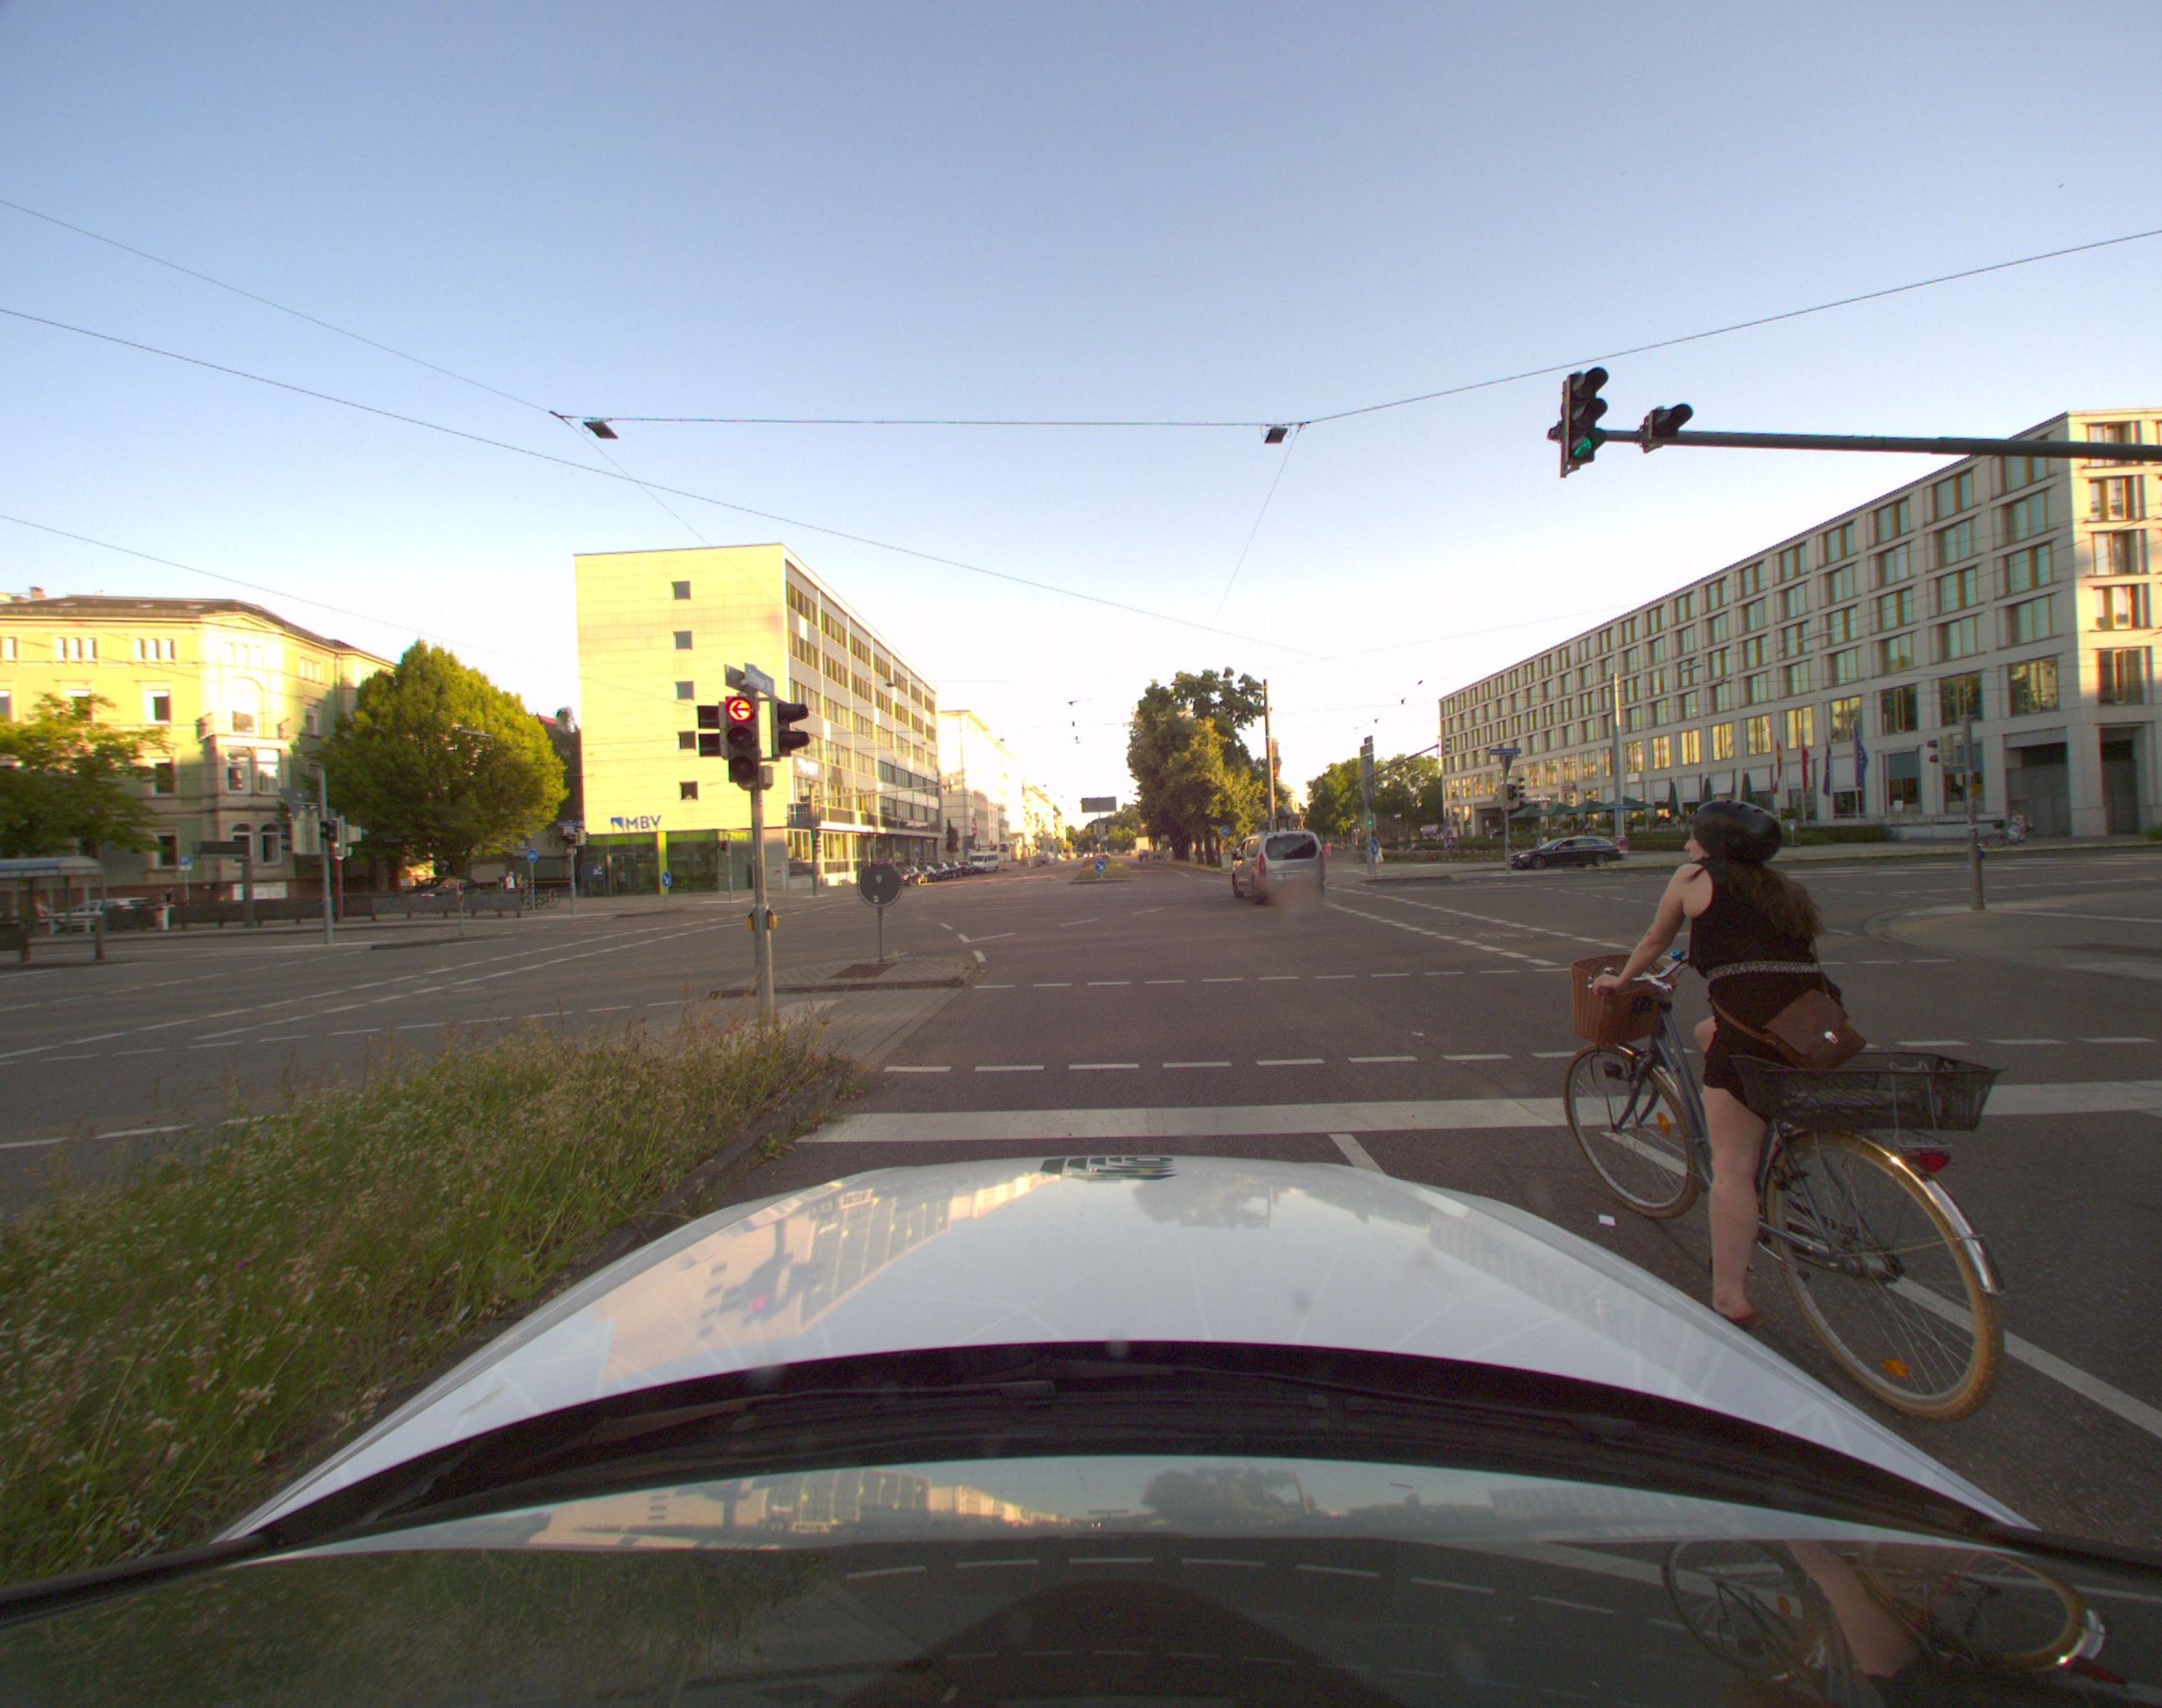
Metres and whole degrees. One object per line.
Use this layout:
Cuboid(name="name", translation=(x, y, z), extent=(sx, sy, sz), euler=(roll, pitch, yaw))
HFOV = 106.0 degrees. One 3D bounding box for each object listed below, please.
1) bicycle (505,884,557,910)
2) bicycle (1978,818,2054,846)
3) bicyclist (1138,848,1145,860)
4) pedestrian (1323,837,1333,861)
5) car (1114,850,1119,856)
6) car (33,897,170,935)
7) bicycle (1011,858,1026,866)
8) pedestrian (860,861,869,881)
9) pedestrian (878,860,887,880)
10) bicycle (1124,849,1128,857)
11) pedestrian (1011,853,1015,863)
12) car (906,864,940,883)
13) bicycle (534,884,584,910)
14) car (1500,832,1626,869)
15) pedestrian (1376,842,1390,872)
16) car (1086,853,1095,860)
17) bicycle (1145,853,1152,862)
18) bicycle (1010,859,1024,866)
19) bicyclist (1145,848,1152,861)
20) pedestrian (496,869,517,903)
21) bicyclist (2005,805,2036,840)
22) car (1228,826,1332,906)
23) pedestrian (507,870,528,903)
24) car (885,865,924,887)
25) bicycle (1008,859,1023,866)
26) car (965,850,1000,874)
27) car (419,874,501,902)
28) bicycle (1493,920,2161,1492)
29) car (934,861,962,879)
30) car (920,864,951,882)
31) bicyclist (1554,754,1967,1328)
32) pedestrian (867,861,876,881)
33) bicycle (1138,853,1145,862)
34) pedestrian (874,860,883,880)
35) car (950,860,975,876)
Cuboid(name="bicycle", translation=(-26.905, 2.092, 39.916), extent=(0.832, 1.112, 2.216), euler=(-3, 0, 6))
Cuboid(name="bicycle", translation=(42.419, -0.985, 36.943), extent=(2.762, 1.106, 0.602), euler=(-3, 0, -1))
Cuboid(name="bicyclist", translation=(8.153, 0.013, 109.814), extent=(0.744, 1.663, 0.873), euler=(-3, 0, 1))
Cuboid(name="pedestrian", translation=(17.414, -0.324, 57.454), extent=(0.458, 1.656, 0.567), euler=(-3, 0, 1))
Cuboid(name="car", translation=(11.520, -0.269, 261.434), extent=(1.403, 1.641, 4.000), euler=(-3, 0, 1))
Cuboid(name="car", translation=(-45.197, 2.838, 37.685), extent=(3.588, 1.372, 1.833), euler=(-3, 0, -15))
Cuboid(name="bicycle", translation=(-9.960, 1.262, 129.336), extent=(2.198, 1.236, 0.839), euler=(-3, 0, 0))
Cuboid(name="pedestrian", translation=(-18.339, 1.438, 69.041), extent=(0.549, 1.679, 0.500), euler=(-3, 0, 1))
Cuboid(name="pedestrian", translation=(-16.857, 1.391, 69.285), extent=(0.549, 1.679, 0.500), euler=(-3, 0, 1))
Cuboid(name="bicycle", translation=(11.752, -0.235, 211.098), extent=(0.892, 2.013, 4.002), euler=(-3, 0, 2))
Cuboid(name="pedestrian", translation=(-13.804, 0.844, 165.489), extent=(0.677, 2.013, 0.545), euler=(-3, 0, 1))
Cuboid(name="car", translation=(-13.312, 1.642, 68.913), extent=(1.913, 1.464, 4.002), euler=(-3, 0, 2))
Cuboid(name="bicycle", translation=(-25.504, 2.097, 39.830), extent=(0.832, 1.112, 2.216), euler=(-3, 0, 6))
Cuboid(name="car", translation=(23.121, -0.182, 39.219), extent=(4.803, 1.515, 2.002), euler=(-3, 0, 4))
Cuboid(name="pedestrian", translation=(15.975, 0.141, 43.075), extent=(0.489, 1.540, 0.408), euler=(-3, 0, 1))
Cuboid(name="car", translation=(2.250, 0.523, 195.706), extent=(1.855, 1.519, 4.003), euler=(-3, 0, 3))
Cuboid(name="bicycle", translation=(9.171, 0.475, 110.168), extent=(0.744, 1.144, 2.506), euler=(-3, 0, 2))
Cuboid(name="bicycle", translation=(-10.003, 1.330, 127.475), extent=(2.198, 1.112, 0.689), euler=(-3, 0, 0))
Cuboid(name="bicyclist", translation=(9.141, 0.025, 110.014), extent=(0.744, 1.691, 0.799), euler=(-3, 0, 1))
Cuboid(name="pedestrian", translation=(-31.181, 1.702, 44.187), extent=(0.641, 1.790, 0.720), euler=(-3, 0, -12))
Cuboid(name="bicyclist", translation=(42.643, -1.415, 36.965), extent=(0.705, 1.537, 0.577), euler=(-3, 0, -1))
Cuboid(name="car", translation=(5.328, 0.255, 22.423), extent=(1.757, 1.888, 4.501), euler=(-3, 1, 1))
Cuboid(name="pedestrian", translation=(-31.107, 1.770, 44.954), extent=(0.641, 1.790, 0.720), euler=(-3, 0, -12))
Cuboid(name="car", translation=(-13.508, 1.655, 62.433), extent=(1.913, 1.464, 4.105), euler=(-3, 0, 2))
Cuboid(name="bicycle", translation=(-10.083, 1.318, 125.925), extent=(2.198, 1.112, 0.619), euler=(-3, 0, 0))
Cuboid(name="car", translation=(-11.058, 0.863, 91.685), extent=(1.988, 2.478, 5.888), euler=(-3, 0, 12))
Cuboid(name="car", translation=(-35.165, 1.916, 46.254), extent=(1.830, 1.372, 3.594), euler=(-3, 0, 0))
Cuboid(name="bicycle", translation=(2.236, 0.886, 2.861), extent=(0.609, 1.132, 2.005), euler=(-1, 0, 2))
Cuboid(name="car", translation=(-12.852, 1.570, 79.028), extent=(1.913, 1.568, 4.002), euler=(-3, 0, 2))
Cuboid(name="car", translation=(-13.104, 1.680, 73.726), extent=(1.913, 1.464, 4.002), euler=(-3, 0, 2))
Cuboid(name="bicyclist", translation=(2.233, 0.535, 2.830), extent=(0.597, 1.636, 0.999), euler=(-1, 0, 2))
Cuboid(name="pedestrian", translation=(-17.957, 1.441, 69.812), extent=(0.549, 1.679, 0.500), euler=(-3, 0, 1))
Cuboid(name="bicycle", translation=(8.207, 0.510, 110.371), extent=(0.744, 1.144, 2.506), euler=(-3, 0, 2))
Cuboid(name="pedestrian", translation=(-17.368, 1.407, 69.835), extent=(0.498, 1.679, 0.500), euler=(-3, 0, 1))
Cuboid(name="car", translation=(-12.384, 1.442, 85.251), extent=(1.913, 1.568, 4.002), euler=(-3, 0, 2))
